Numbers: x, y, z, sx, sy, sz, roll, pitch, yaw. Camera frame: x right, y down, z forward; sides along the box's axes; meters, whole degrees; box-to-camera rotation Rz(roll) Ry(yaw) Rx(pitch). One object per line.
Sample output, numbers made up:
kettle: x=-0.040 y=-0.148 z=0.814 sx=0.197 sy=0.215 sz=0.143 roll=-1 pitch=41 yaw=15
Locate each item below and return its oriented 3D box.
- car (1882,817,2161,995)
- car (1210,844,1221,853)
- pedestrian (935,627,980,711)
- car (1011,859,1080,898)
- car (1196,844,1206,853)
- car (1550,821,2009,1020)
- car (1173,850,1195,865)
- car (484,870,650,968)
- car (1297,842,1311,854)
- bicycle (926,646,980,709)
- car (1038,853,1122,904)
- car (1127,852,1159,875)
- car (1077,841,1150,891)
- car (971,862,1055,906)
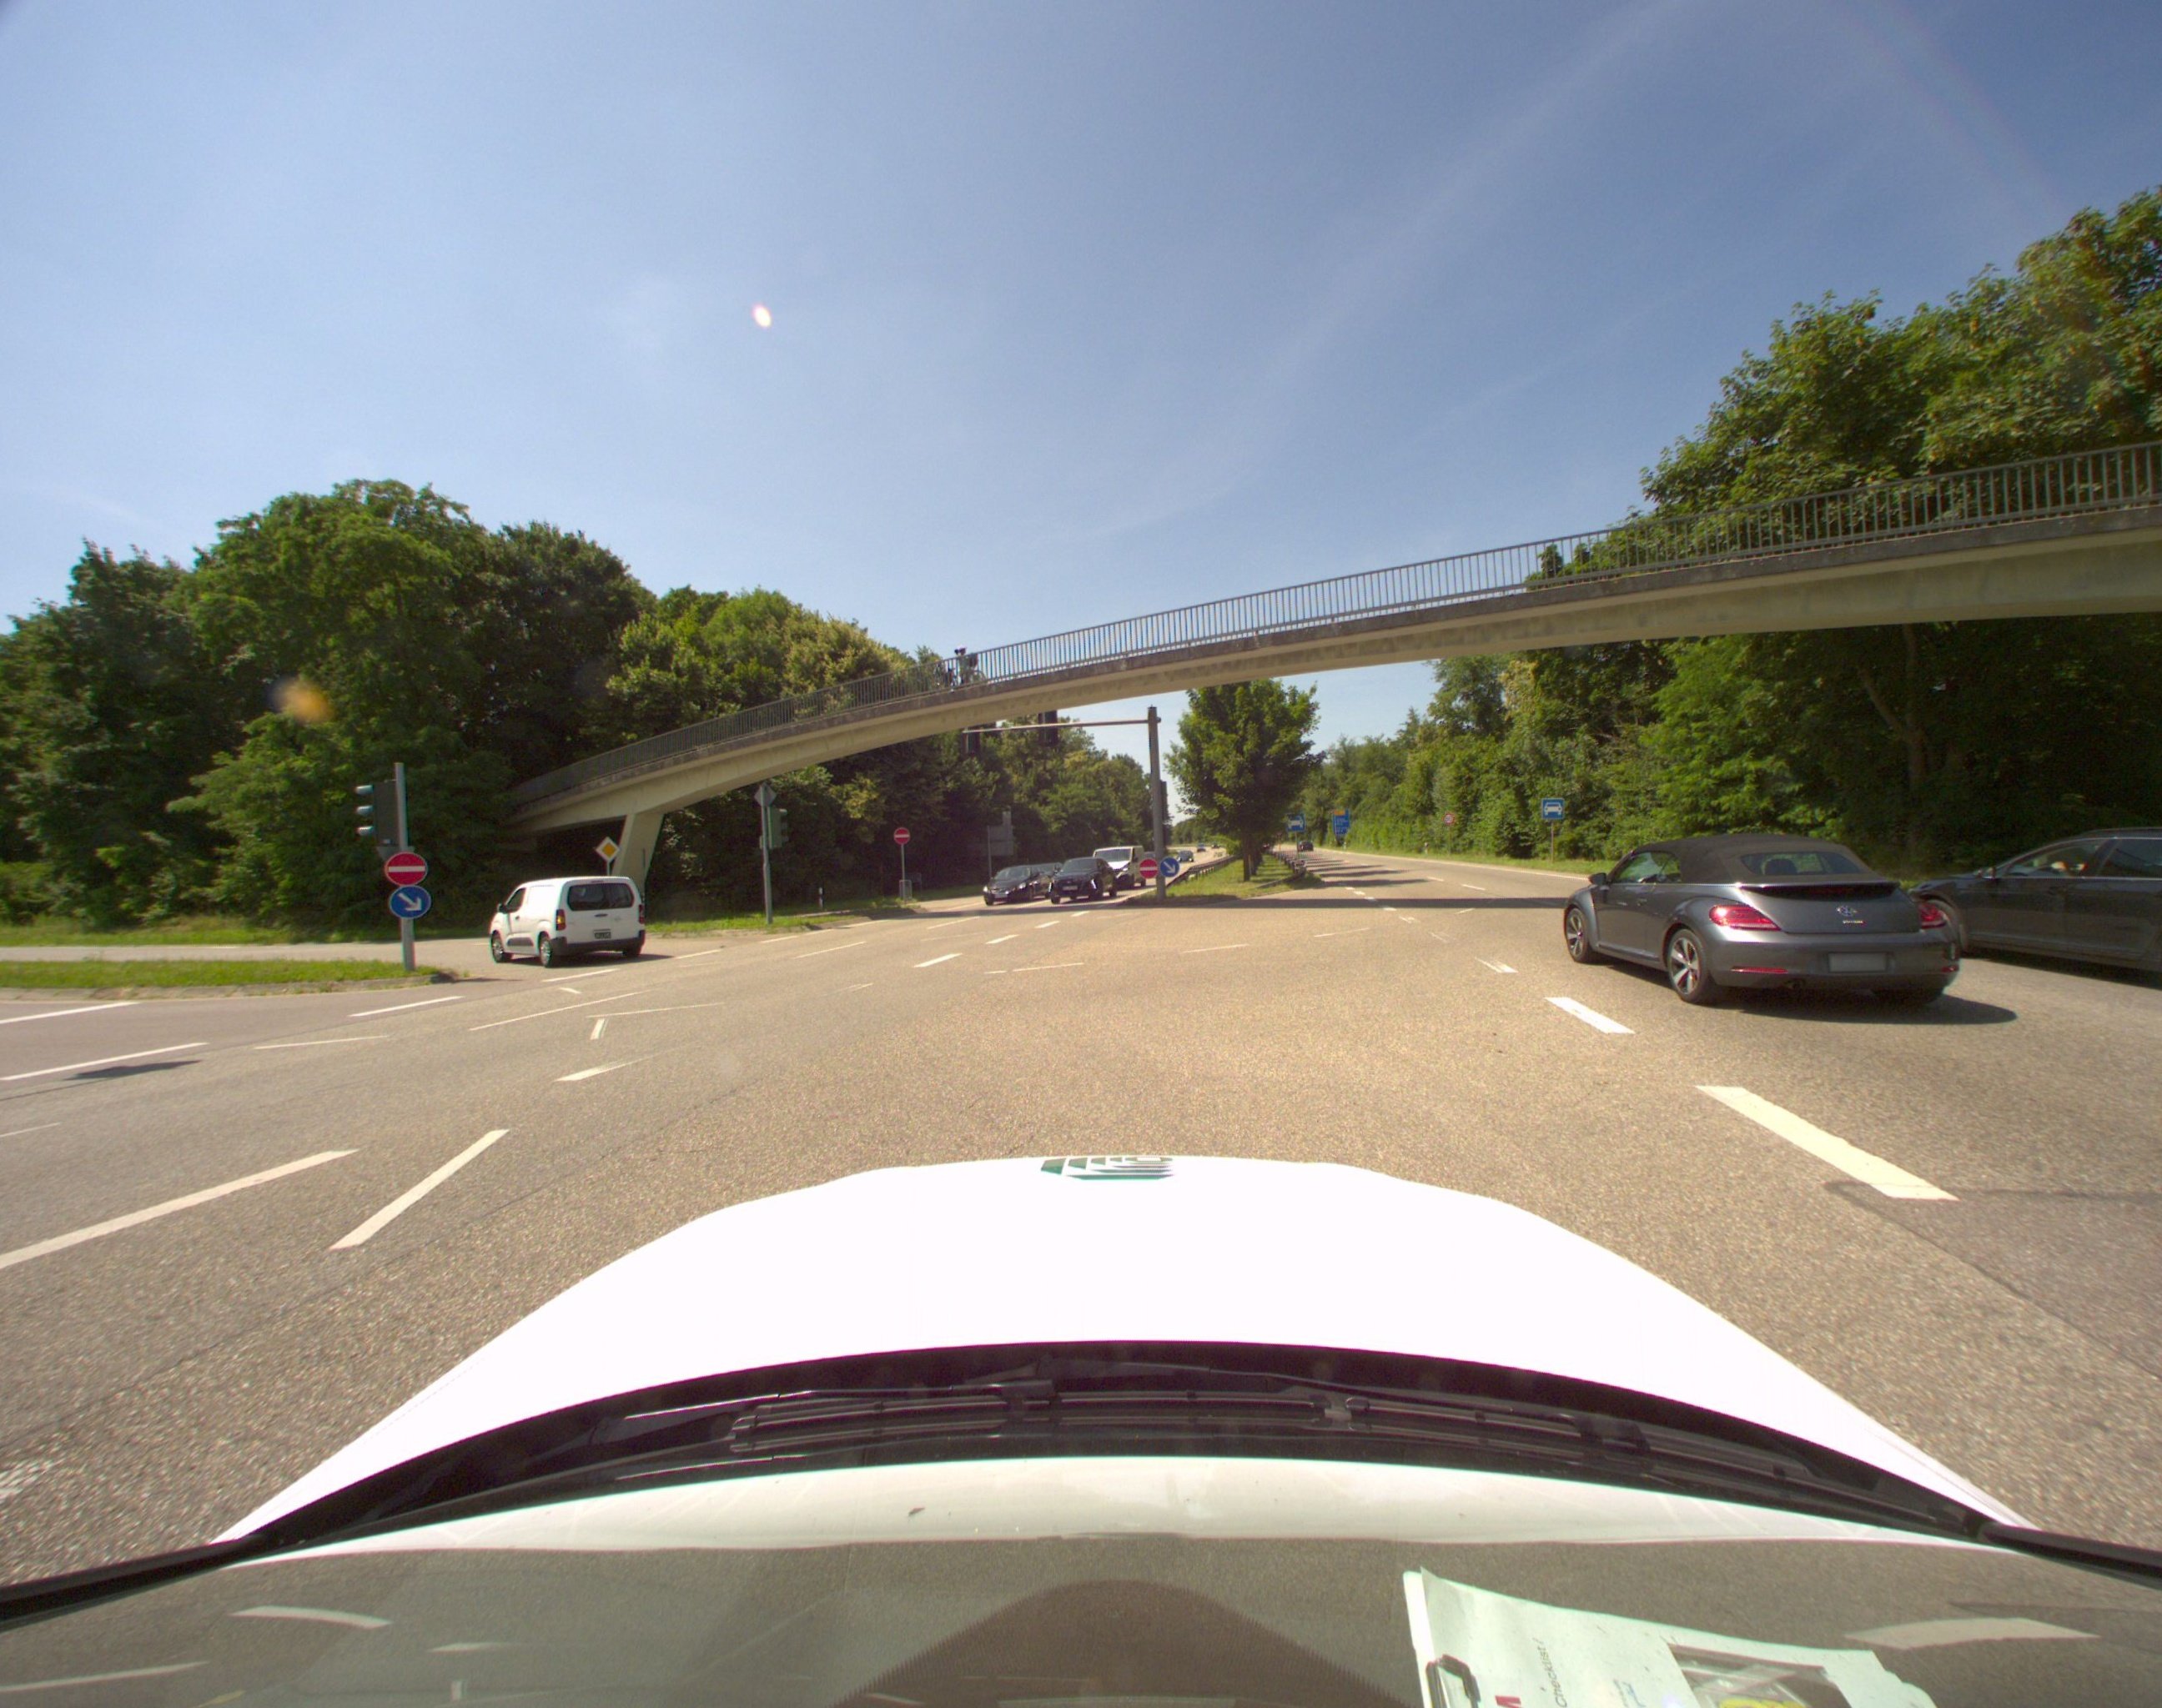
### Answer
car: x=10.119 y=0.402 z=7.511 sx=1.887 sy=1.477 sz=4.397 roll=-1 pitch=0 yaw=13
car: x=32.571 y=-1.388 z=197.511 sx=1.986 sy=2.014 sz=4.001 roll=-1 pitch=-1 yaw=1
pedestrian: x=-3.599 y=-5.384 z=23.798 sx=0.774 sy=2.140 sz=0.937 roll=-5 pitch=-2 yaw=29
car: x=-1.560 y=1.076 z=37.039 sx=1.994 sy=1.460 sz=4.070 roll=-4 pitch=-1 yaw=13
car: x=26.124 y=-1.135 z=177.240 sx=1.983 sy=1.750 sz=4.008 roll=-5 pitch=-1 yaw=7
car: x=6.409 y=0.487 z=8.168 sx=1.887 sy=1.477 sz=3.953 roll=-1 pitch=0 yaw=13
car: x=12.408 y=0.419 z=97.798 sx=1.994 sy=1.601 sz=4.070 roll=-4 pitch=-1 yaw=13
car: x=-11.237 y=1.352 z=17.726 sx=3.929 sy=1.825 sz=1.867 roll=-3 pitch=-1 yaw=39
car: x=33.996 y=-0.962 z=124.068 sx=2.026 sy=1.699 sz=5.108 roll=-3 pitch=0 yaw=16
bicycle: x=-3.717 y=-5.099 z=23.590 sx=1.512 sy=1.474 sz=0.472 roll=-5 pitch=-3 yaw=29
car: x=0.058 y=0.828 z=28.979 sx=1.980 sy=1.523 sz=4.042 roll=-5 pitch=-1 yaw=13
car: x=5.013 y=0.729 z=65.776 sx=1.848 sy=1.616 sz=4.070 roll=-4 pitch=-1 yaw=13
car: x=1.625 y=0.506 z=37.442 sx=2.193 sy=1.993 sz=5.508 roll=-4 pitch=-1 yaw=13
car: x=-2.594 y=1.133 z=32.130 sx=1.994 sy=1.460 sz=4.070 roll=-4 pitch=-1 yaw=13
